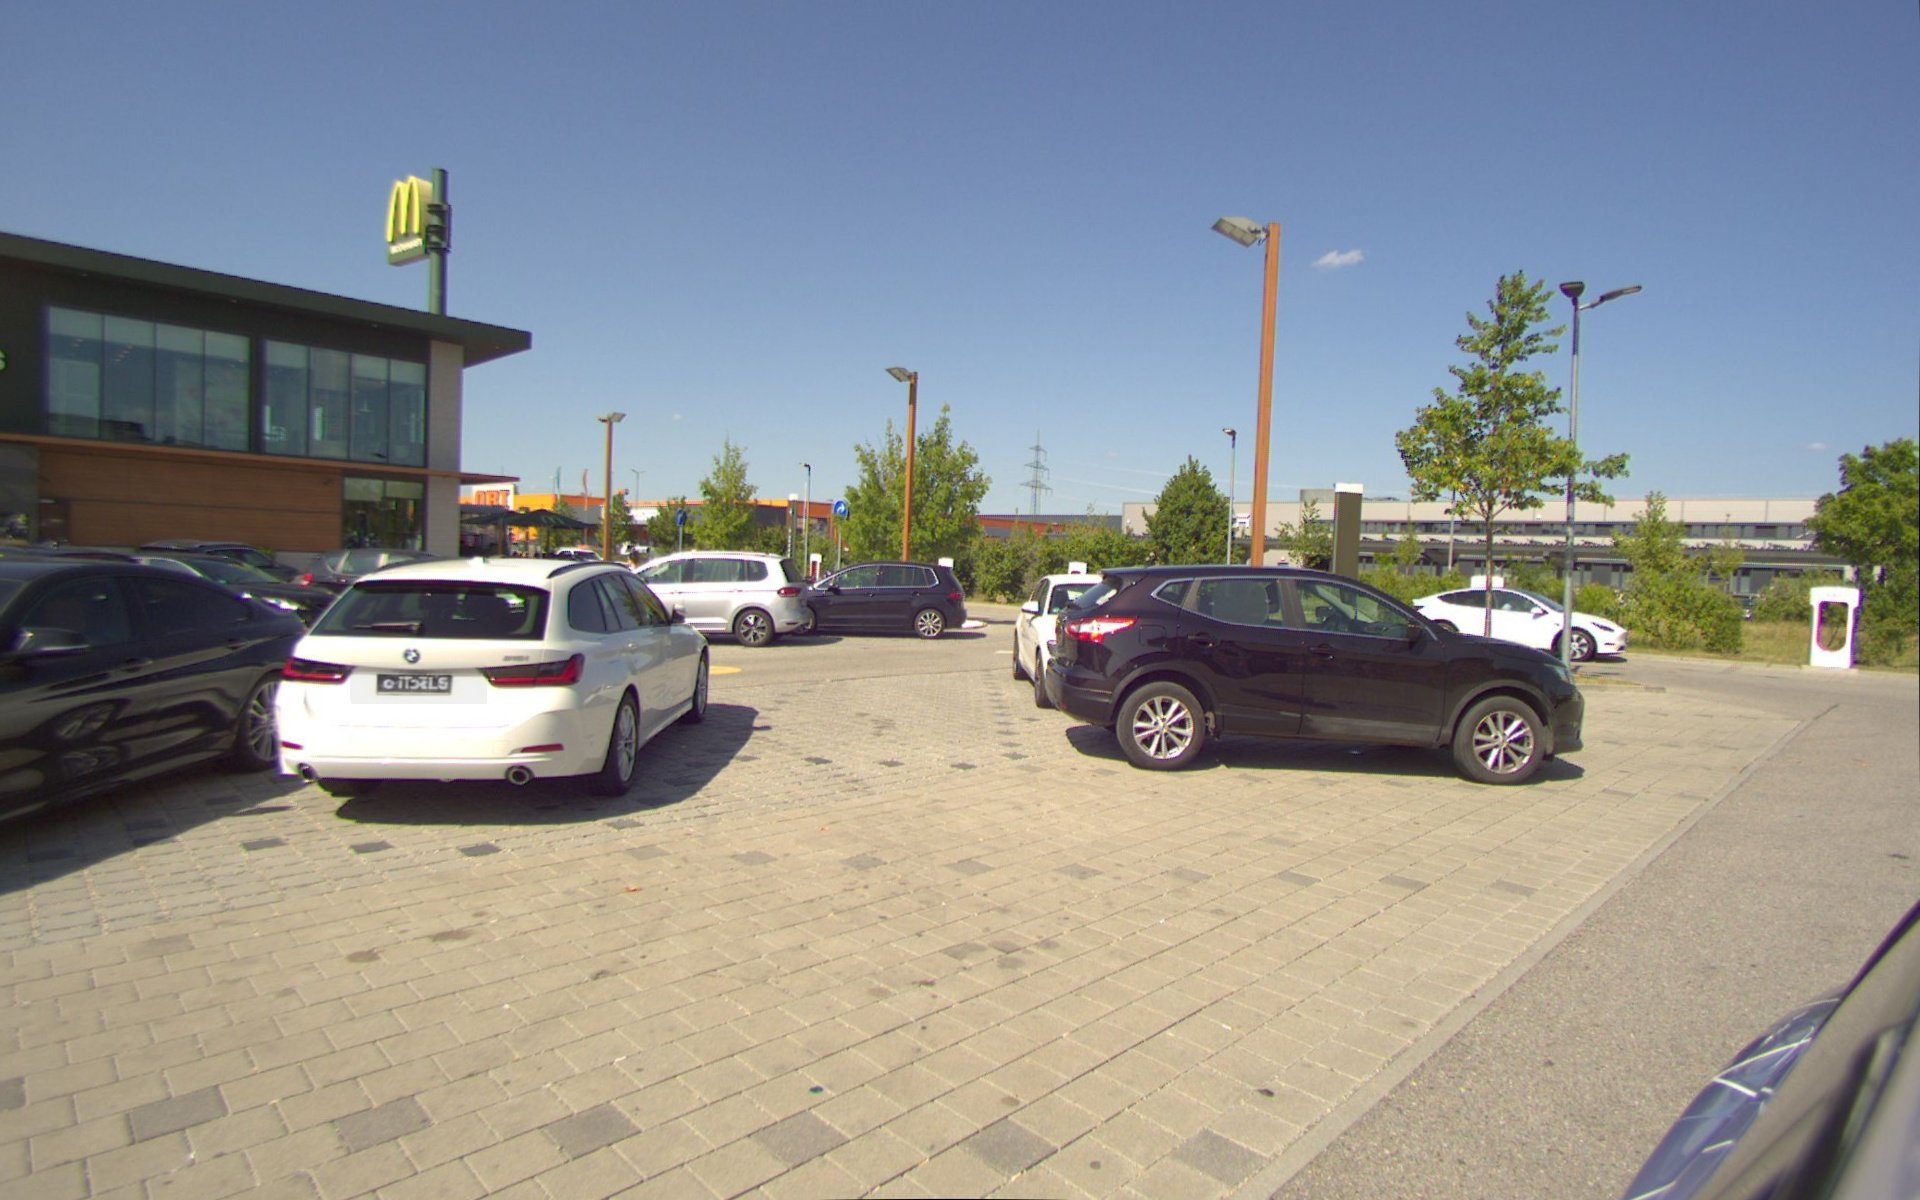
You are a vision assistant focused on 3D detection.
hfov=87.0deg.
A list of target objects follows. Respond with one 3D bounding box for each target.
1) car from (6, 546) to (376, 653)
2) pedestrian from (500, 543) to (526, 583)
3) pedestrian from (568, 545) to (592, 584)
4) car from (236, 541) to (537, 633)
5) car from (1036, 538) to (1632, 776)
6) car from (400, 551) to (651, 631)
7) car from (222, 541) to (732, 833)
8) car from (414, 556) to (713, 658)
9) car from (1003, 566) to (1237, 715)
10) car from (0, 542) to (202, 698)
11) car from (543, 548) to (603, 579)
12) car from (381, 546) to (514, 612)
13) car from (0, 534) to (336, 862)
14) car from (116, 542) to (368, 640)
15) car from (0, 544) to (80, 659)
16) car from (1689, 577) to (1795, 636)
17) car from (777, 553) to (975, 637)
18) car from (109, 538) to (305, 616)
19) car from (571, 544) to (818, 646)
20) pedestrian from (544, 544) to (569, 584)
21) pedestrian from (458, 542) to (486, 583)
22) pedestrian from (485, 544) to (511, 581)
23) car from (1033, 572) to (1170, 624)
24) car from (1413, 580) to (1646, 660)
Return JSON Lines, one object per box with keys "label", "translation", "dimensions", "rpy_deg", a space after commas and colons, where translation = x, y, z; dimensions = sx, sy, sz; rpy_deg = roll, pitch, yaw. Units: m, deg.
{"label": "car", "translation": [-12.192, -0.051, 16.256], "dimensions": [4.557, 1.505, 1.896], "rpy_deg": [1, 2, 1]}
{"label": "pedestrian", "translation": [-17.659, -1.460, 39.991], "dimensions": [0.690, 1.579, 0.720], "rpy_deg": [0, 2, -45]}
{"label": "pedestrian", "translation": [-15.768, -1.473, 42.020], "dimensions": [0.690, 1.579, 0.720], "rpy_deg": [0, 2, -45]}
{"label": "car", "translation": [-10.552, -0.269, 18.839], "dimensions": [4.557, 1.505, 1.896], "rpy_deg": [1, 2, 1]}
{"label": "car", "translation": [2.841, 0.396, 8.469], "dimensions": [4.223, 1.610, 1.857], "rpy_deg": [2, 1, 1]}
{"label": "car", "translation": [-9.169, -0.226, 21.607], "dimensions": [4.557, 1.505, 1.896], "rpy_deg": [1, 2, 1]}
{"label": "car", "translation": [-3.005, 0.387, 7.515], "dimensions": [1.800, 1.477, 4.589], "rpy_deg": [1, 2, -3]}
{"label": "car", "translation": [-6.159, 0.069, 16.033], "dimensions": [4.037, 1.430, 1.814], "rpy_deg": [1, 2, 1]}
{"label": "car", "translation": [1.717, 0.347, 12.384], "dimensions": [1.936, 1.477, 4.211], "rpy_deg": [1, 2, -3]}
{"label": "car", "translation": [-10.928, 0.120, 10.913], "dimensions": [4.200, 1.505, 1.814], "rpy_deg": [1, 2, 1]}
{"label": "car", "translation": [-20.537, -1.938, 53.669], "dimensions": [1.733, 1.581, 3.878], "rpy_deg": [0, 2, -41]}
{"label": "car", "translation": [-14.013, -0.597, 27.942], "dimensions": [1.684, 1.633, 4.038], "rpy_deg": [1, 2, -1]}
{"label": "car", "translation": [-5.268, 0.401, 5.135], "dimensions": [1.800, 1.477, 4.376], "rpy_deg": [1, 2, -5]}
{"label": "car", "translation": [-14.497, -0.201, 20.609], "dimensions": [1.646, 1.797, 3.902], "rpy_deg": [2, 2, 39]}
{"label": "car", "translation": [-14.985, -0.044, 13.698], "dimensions": [4.557, 1.505, 1.896], "rpy_deg": [1, 2, 1]}
{"label": "car", "translation": [25.901, 0.179, 33.469], "dimensions": [4.181, 1.771, 1.917], "rpy_deg": [0, 2, -40]}
{"label": "car", "translation": [-1.726, -0.123, 21.155], "dimensions": [3.922, 1.571, 1.756], "rpy_deg": [1, 1, -2]}
{"label": "car", "translation": [-17.540, -0.563, 23.842], "dimensions": [1.684, 1.633, 4.038], "rpy_deg": [1, 2, -1]}
{"label": "car", "translation": [-4.780, -0.123, 18.615], "dimensions": [4.037, 1.695, 1.814], "rpy_deg": [1, 2, 1]}
{"label": "pedestrian", "translation": [-16.317, -1.455, 40.956], "dimensions": [0.690, 1.579, 0.720], "rpy_deg": [0, 2, -45]}
{"label": "pedestrian", "translation": [-19.299, -1.479, 40.018], "dimensions": [0.692, 1.579, 0.718], "rpy_deg": [2, 1, 16]}
{"label": "pedestrian", "translation": [-19.655, -1.589, 43.045], "dimensions": [0.692, 1.579, 0.718], "rpy_deg": [2, 1, 16]}
{"label": "car", "translation": [4.669, -0.109, 33.795], "dimensions": [1.812, 1.497, 4.323], "rpy_deg": [0, 3, -44]}
{"label": "car", "translation": [13.565, 0.399, 24.283], "dimensions": [4.560, 1.612, 1.814], "rpy_deg": [4, 2, 42]}
